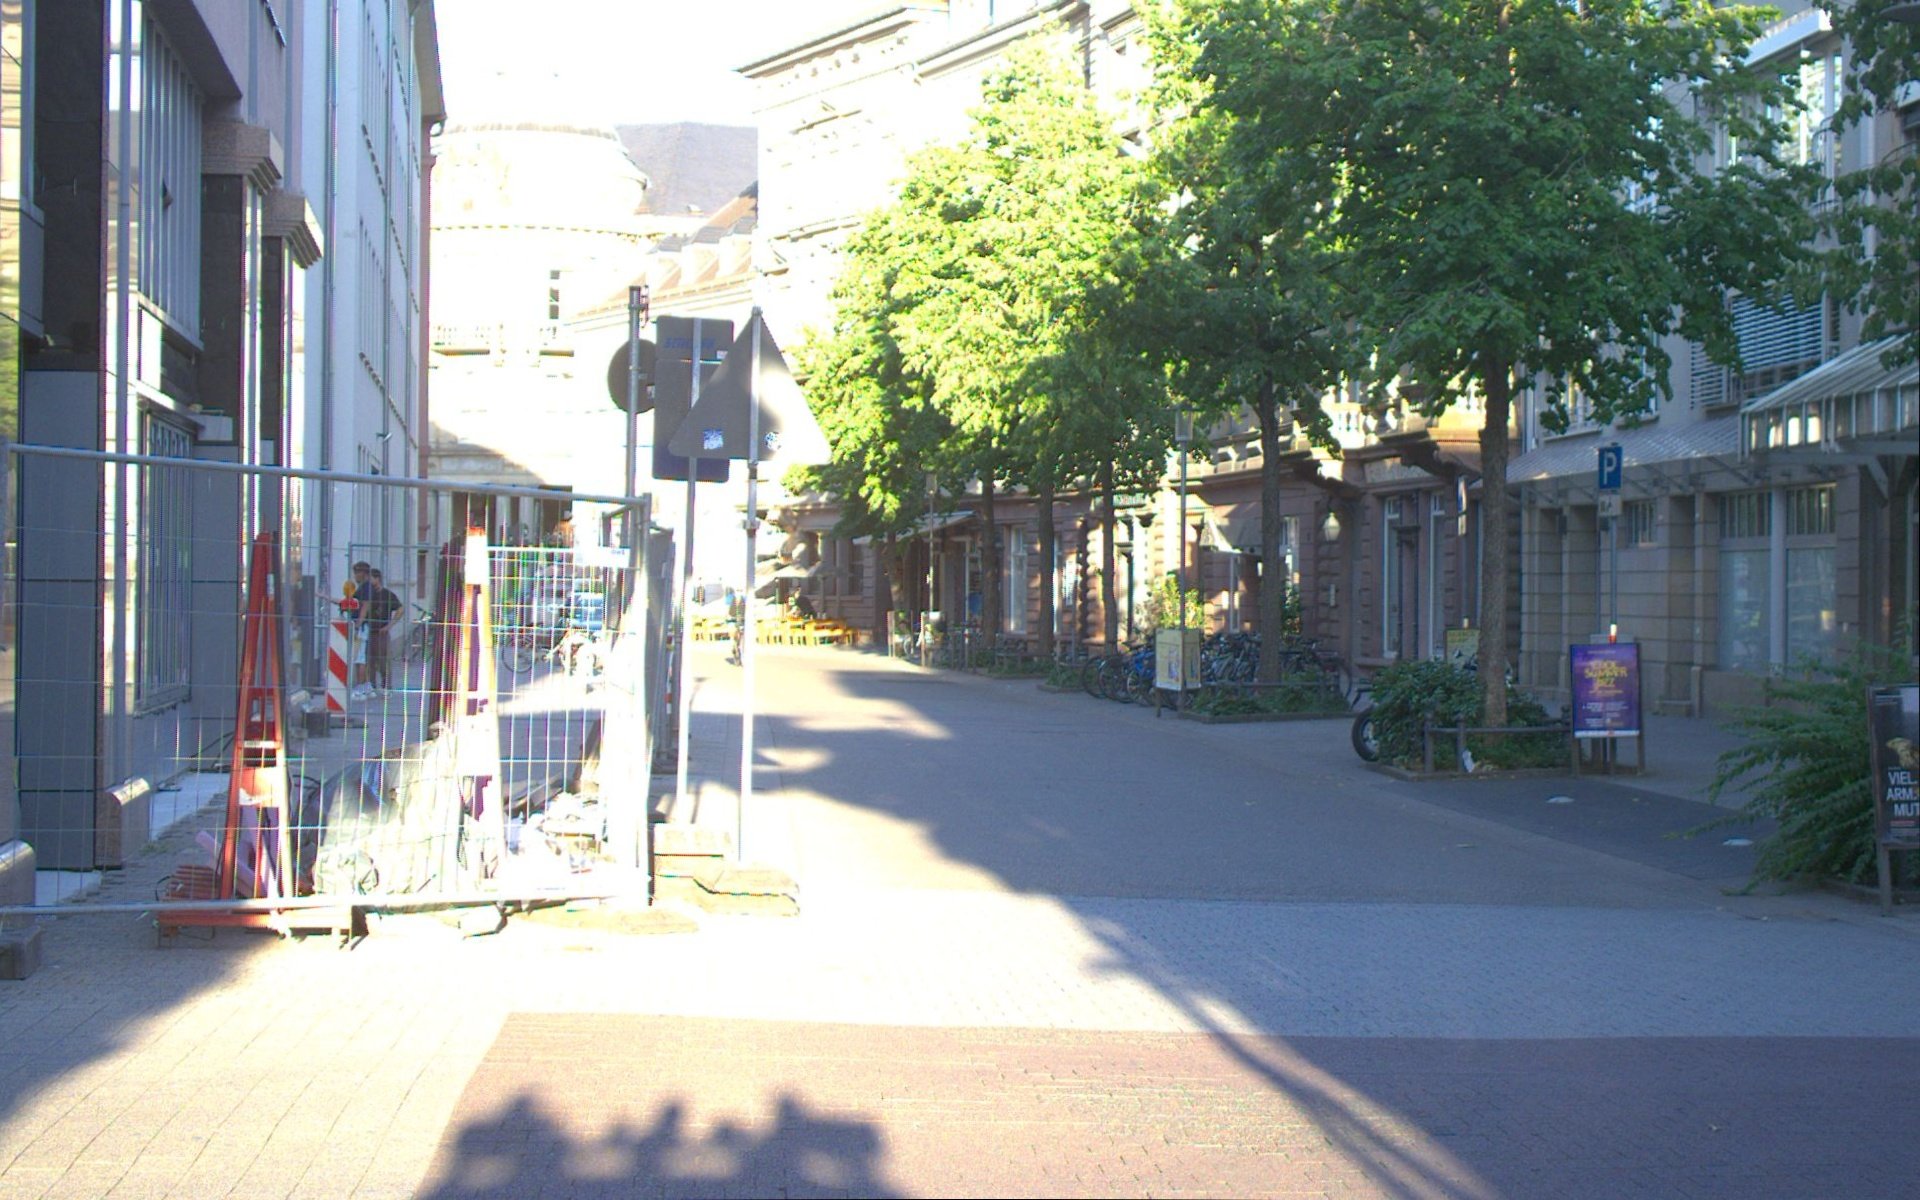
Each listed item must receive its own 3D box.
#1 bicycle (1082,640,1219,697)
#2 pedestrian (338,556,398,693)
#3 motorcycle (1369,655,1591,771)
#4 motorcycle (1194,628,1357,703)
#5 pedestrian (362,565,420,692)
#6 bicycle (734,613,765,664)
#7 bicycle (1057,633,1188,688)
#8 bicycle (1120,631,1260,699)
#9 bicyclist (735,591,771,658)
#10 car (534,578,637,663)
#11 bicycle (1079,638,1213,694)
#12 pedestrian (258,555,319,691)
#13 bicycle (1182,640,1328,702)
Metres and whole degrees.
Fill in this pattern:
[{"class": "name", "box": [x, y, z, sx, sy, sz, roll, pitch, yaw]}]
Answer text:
[{"class": "bicycle", "box": [3.112, 1.113, 56.272, 2.152, 0.923, 0.591, 0, -1, -12]}, {"class": "pedestrian", "box": [-7.609, 0.313, 44.187, 0.654, 1.758, 0.634, 0, 0, 0]}, {"class": "motorcycle", "box": [5.238, 1.131, 34.642, 2.152, 1.147, 0.494, 0, -1, -7]}, {"class": "motorcycle", "box": [4.704, 0.968, 51.186, 2.470, 1.091, 0.591, 0, -1, -27]}, {"class": "pedestrian", "box": [-7.416, 0.365, 44.804, 0.654, 1.646, 0.634, 0, 0, 0]}, {"class": "bicycle", "box": [-4.585, 0.841, 74.822, 0.588, 1.091, 2.160, 0, -1, -6]}, {"class": "bicycle", "box": [2.763, 1.029, 58.423, 2.152, 0.923, 0.591, 0, -1, -12]}, {"class": "bicycle", "box": [3.632, 1.028, 54.186, 2.154, 1.057, 0.590, 0, -1, 9]}, {"class": "bicyclist", "box": [-4.501, 0.528, 74.738, 0.721, 1.463, 0.718, 0, 0, -6]}, {"class": "car", "box": [-7.640, 0.418, 69.904, 1.841, 1.678, 3.645, 0, 0, -10]}, {"class": "bicycle", "box": [3.114, 1.094, 57.448, 2.152, 0.923, 0.591, 0, -1, -12]}, {"class": "pedestrian", "box": [-8.593, 0.294, 44.012, 0.654, 1.720, 0.634, 0, 0, 0]}, {"class": "bicycle", "box": [4.484, 1.078, 52.258, 2.152, 0.923, 0.591, 0, -1, -20]}]
